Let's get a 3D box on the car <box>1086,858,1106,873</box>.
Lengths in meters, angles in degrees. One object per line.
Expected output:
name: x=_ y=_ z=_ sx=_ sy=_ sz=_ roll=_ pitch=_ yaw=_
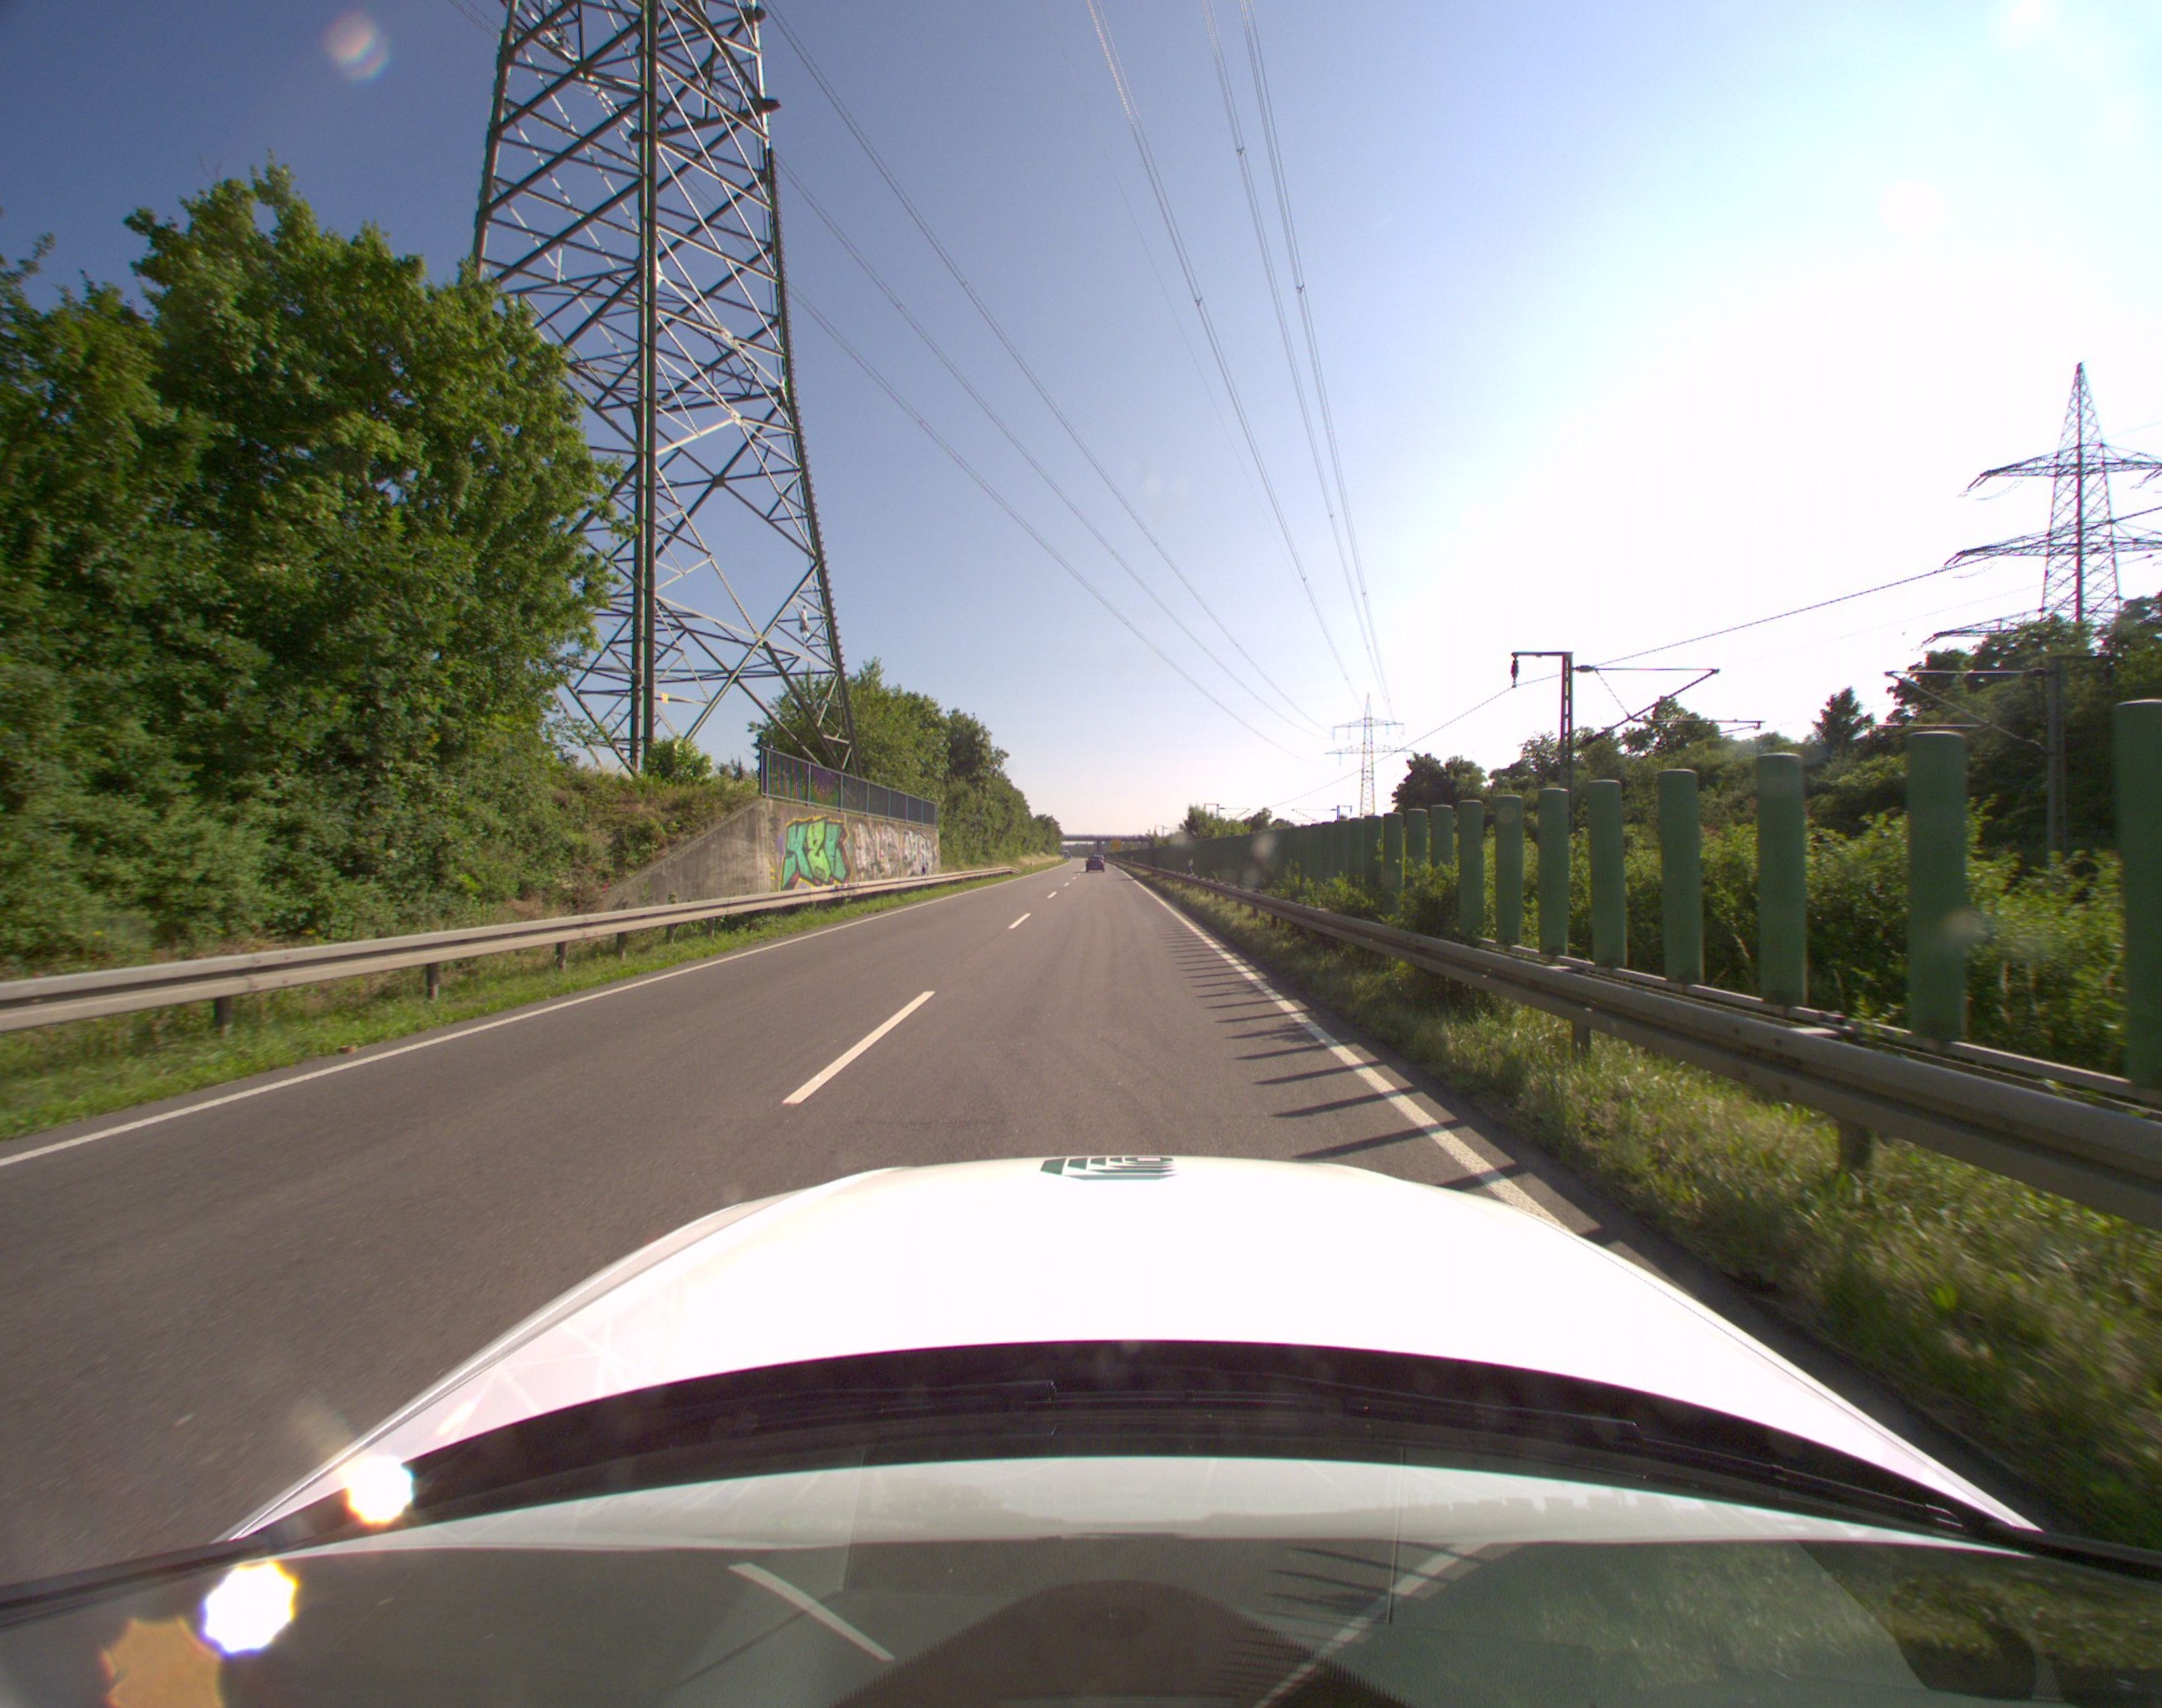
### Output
car: x=1.332 y=1.020 z=72.634 sx=1.658 sy=1.261 sz=3.998 roll=-1 pitch=-1 yaw=-1
